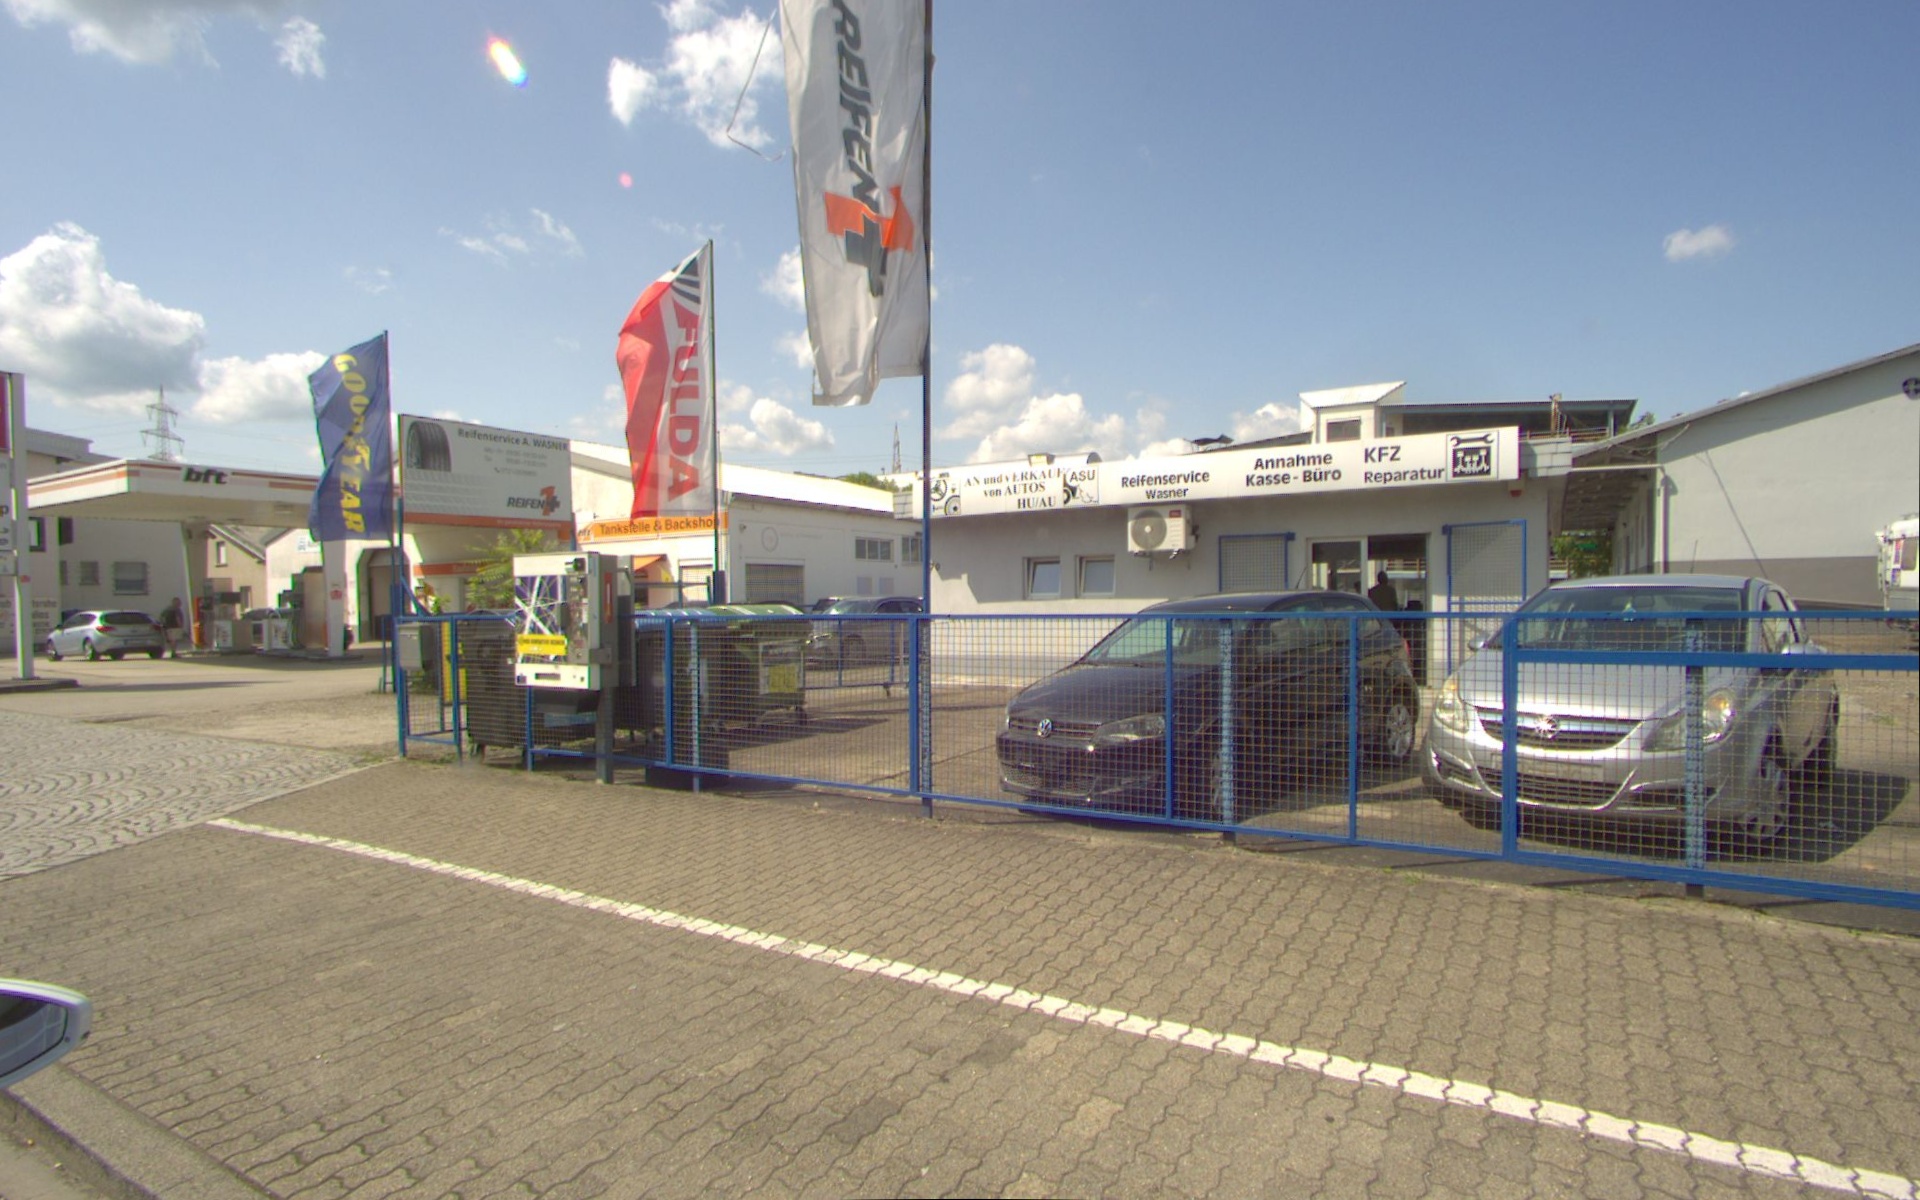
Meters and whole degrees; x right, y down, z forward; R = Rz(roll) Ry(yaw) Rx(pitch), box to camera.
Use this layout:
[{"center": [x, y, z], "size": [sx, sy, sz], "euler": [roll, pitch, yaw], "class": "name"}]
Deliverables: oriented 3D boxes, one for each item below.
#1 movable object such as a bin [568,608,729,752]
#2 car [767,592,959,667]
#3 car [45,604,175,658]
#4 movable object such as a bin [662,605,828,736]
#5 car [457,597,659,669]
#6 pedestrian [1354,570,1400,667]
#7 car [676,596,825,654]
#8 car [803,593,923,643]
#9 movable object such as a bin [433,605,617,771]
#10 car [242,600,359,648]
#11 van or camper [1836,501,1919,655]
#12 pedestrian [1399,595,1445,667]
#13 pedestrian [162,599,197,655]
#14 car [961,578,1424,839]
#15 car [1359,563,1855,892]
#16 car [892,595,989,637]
[{"center": [-3.329, 0.802, 10.740], "size": [1.225, 1.415, 1.106], "euler": [0, 1, 31], "class": "movable object such as a bin"}, {"center": [-1.975, 0.572, 21.563], "size": [1.653, 1.434, 4.255], "euler": [0, 1, 38], "class": "car"}, {"center": [-25.738, 0.900, 30.310], "size": [3.776, 1.523, 1.803], "euler": [-1, 0, 30], "class": "car"}, {"center": [-2.536, 0.782, 11.905], "size": [1.318, 1.414, 1.400], "euler": [0, 1, 31], "class": "movable object such as a bin"}, {"center": [-9.167, 0.688, 23.166], "size": [1.564, 1.482, 4.187], "euler": [0, 0, 33], "class": "car"}, {"center": [7.350, 0.319, 17.647], "size": [0.654, 1.671, 0.563], "euler": [0, 1, 34], "class": "pedestrian"}, {"center": [-5.719, 0.641, 27.822], "size": [1.564, 1.482, 4.187], "euler": [0, 0, 33], "class": "car"}, {"center": [-3.016, 0.526, 32.053], "size": [1.564, 1.482, 4.187], "euler": [0, 0, 33], "class": "car"}, {"center": [-4.162, 0.785, 9.610], "size": [1.225, 1.455, 1.106], "euler": [0, 1, 31], "class": "movable object such as a bin"}, {"center": [-22.296, 0.797, 33.833], "size": [3.777, 1.523, 1.803], "euler": [-1, 0, 31], "class": "car"}, {"center": [21.013, -0.454, 19.530], "size": [5.571, 3.005, 2.264], "euler": [0, 1, 31], "class": "van or camper"}, {"center": [8.044, 0.532, 17.440], "size": [0.654, 1.225, 0.563], "euler": [0, 1, 34], "class": "pedestrian"}, {"center": [-23.777, 0.800, 30.520], "size": [0.698, 1.679, 0.546], "euler": [-1, 1, -22], "class": "pedestrian"}, {"center": [1.894, 0.601, 7.487], "size": [3.655, 1.472, 1.625], "euler": [-1, 0, -43], "class": "car"}, {"center": [4.269, 0.560, 6.382], "size": [3.729, 1.472, 1.757], "euler": [-1, 0, -42], "class": "car"}, {"center": [-0.640, 0.533, 35.738], "size": [1.564, 1.385, 3.860], "euler": [0, 0, 33], "class": "car"}]
